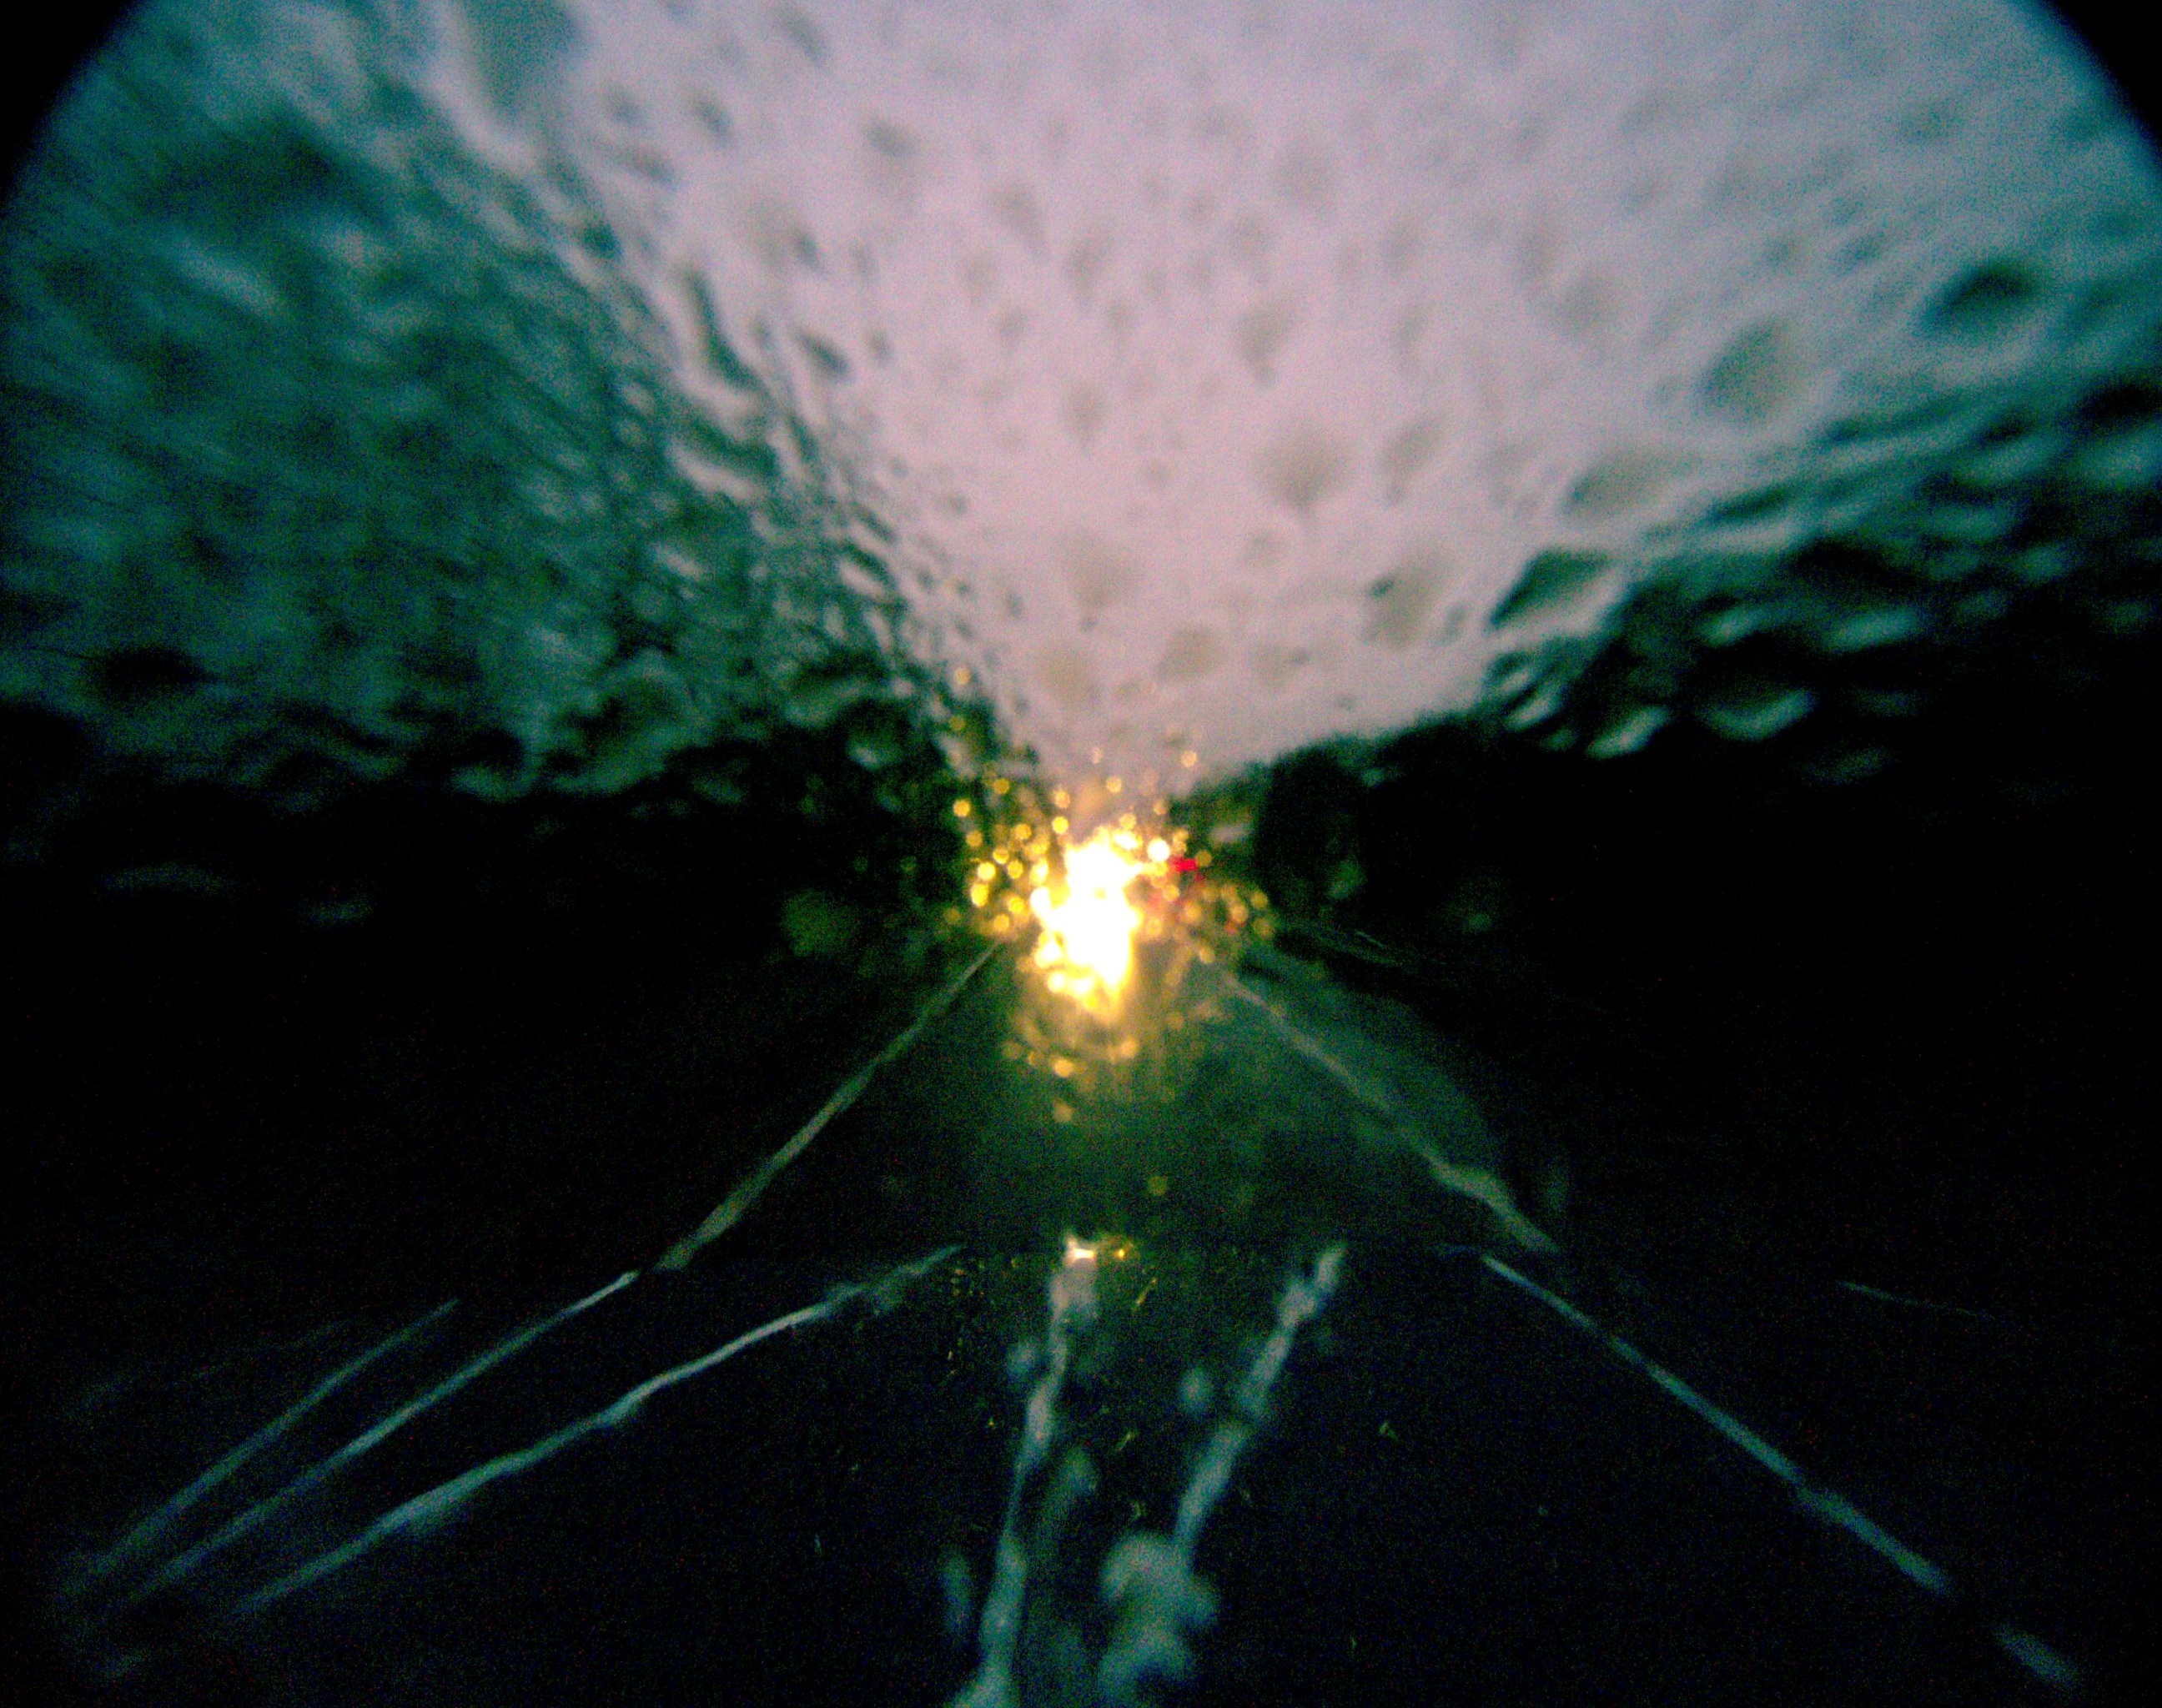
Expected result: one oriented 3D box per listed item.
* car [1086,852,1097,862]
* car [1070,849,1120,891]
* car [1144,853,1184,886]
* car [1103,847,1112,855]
[{"bbox_3d":[1.742,0.451,127.483,1.753,1.643,4.000,-1,0,1],"label":"car"},{"bbox_3d":[0.584,0.652,33.510,1.998,1.672,4.000,-2,0,0],"label":"car"},{"bbox_3d":[3.984,0.708,37.004,1.602,1.487,3.895,1,0,1],"label":"car"},{"bbox_3d":[5.474,-0.597,156.867,1.753,1.543,3.993,-1,0,-1],"label":"car"}]
